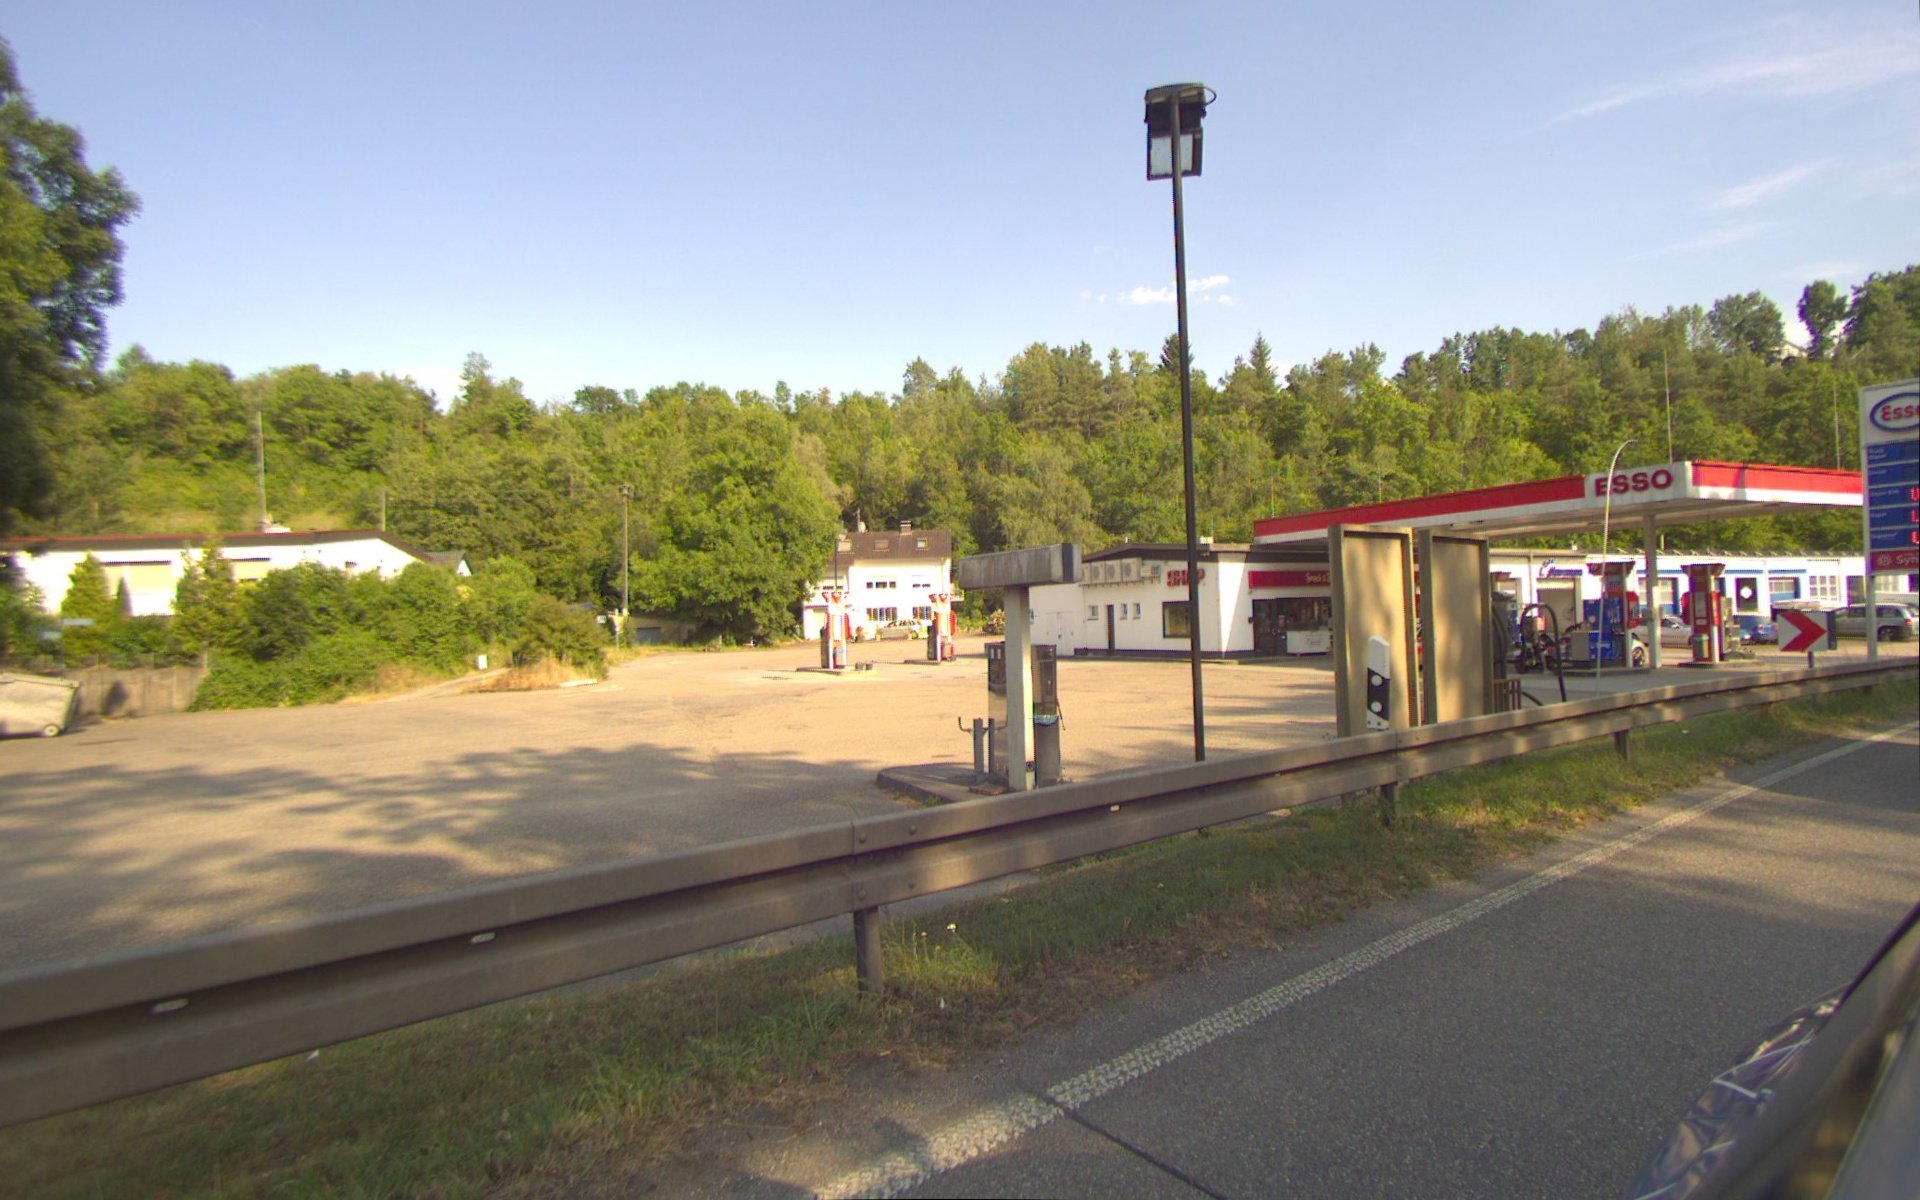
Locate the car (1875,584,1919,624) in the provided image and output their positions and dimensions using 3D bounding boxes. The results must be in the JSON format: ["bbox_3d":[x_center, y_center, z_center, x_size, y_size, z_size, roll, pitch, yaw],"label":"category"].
[{"bbox_3d":[56.943,0.214,58.568,2.248,2.302,5.500,0,1,-26],"label":"car"}]

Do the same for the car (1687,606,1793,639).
[{"bbox_3d":[36.852,1.045,47.889,1.698,1.464,3.560,0,0,-26],"label":"car"}]

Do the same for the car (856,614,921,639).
[{"bbox_3d":[-5.706,2.122,81.488,5.068,1.860,2.701,-1,-1,0],"label":"car"}]

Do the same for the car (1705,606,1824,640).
[{"bbox_3d":[38.725,1.075,48.803,1.856,1.365,4.087,0,2,-26],"label":"car"}]

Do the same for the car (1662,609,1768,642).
[{"bbox_3d":[34.907,1.144,46.899,1.656,1.424,3.566,0,0,-26],"label":"car"}]

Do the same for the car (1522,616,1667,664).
[{"bbox_3d":[19.921,1.222,31.775,4.299,1.336,1.851,0,-1,-26],"label":"car"}]

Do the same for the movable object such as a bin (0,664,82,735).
[{"bbox_3d":[-20.414,2.143,21.595,2.512,1.439,1.267,0,-4,-41],"label":"movable object such as a bin"}]

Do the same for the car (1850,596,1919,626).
[{"bbox_3d":[52.767,0.588,56.478,1.856,1.631,4.261,0,1,-26],"label":"car"}]

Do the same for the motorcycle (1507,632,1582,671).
[{"bbox_3d":[17.138,1.495,29.669,2.293,1.025,0.765,-1,-1,-27],"label":"motorcycle"}]

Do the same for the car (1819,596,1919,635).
[{"bbox_3d":[46.345,0.741,51.031,1.854,1.750,4.267,-1,2,-29],"label":"car"}]

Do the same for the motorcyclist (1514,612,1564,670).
[{"bbox_3d":[16.921,1.187,29.575,0.909,1.625,0.862,0,-1,-27],"label":"motorcyclist"}]

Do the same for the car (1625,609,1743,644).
[{"bbox_3d":[32.668,1.162,45.752,1.741,1.371,3.973,-1,1,-30],"label":"car"}]

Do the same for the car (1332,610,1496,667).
[{"bbox_3d":[14.589,1.186,32.490,5.074,1.649,2.102,0,-1,-28],"label":"car"}]
